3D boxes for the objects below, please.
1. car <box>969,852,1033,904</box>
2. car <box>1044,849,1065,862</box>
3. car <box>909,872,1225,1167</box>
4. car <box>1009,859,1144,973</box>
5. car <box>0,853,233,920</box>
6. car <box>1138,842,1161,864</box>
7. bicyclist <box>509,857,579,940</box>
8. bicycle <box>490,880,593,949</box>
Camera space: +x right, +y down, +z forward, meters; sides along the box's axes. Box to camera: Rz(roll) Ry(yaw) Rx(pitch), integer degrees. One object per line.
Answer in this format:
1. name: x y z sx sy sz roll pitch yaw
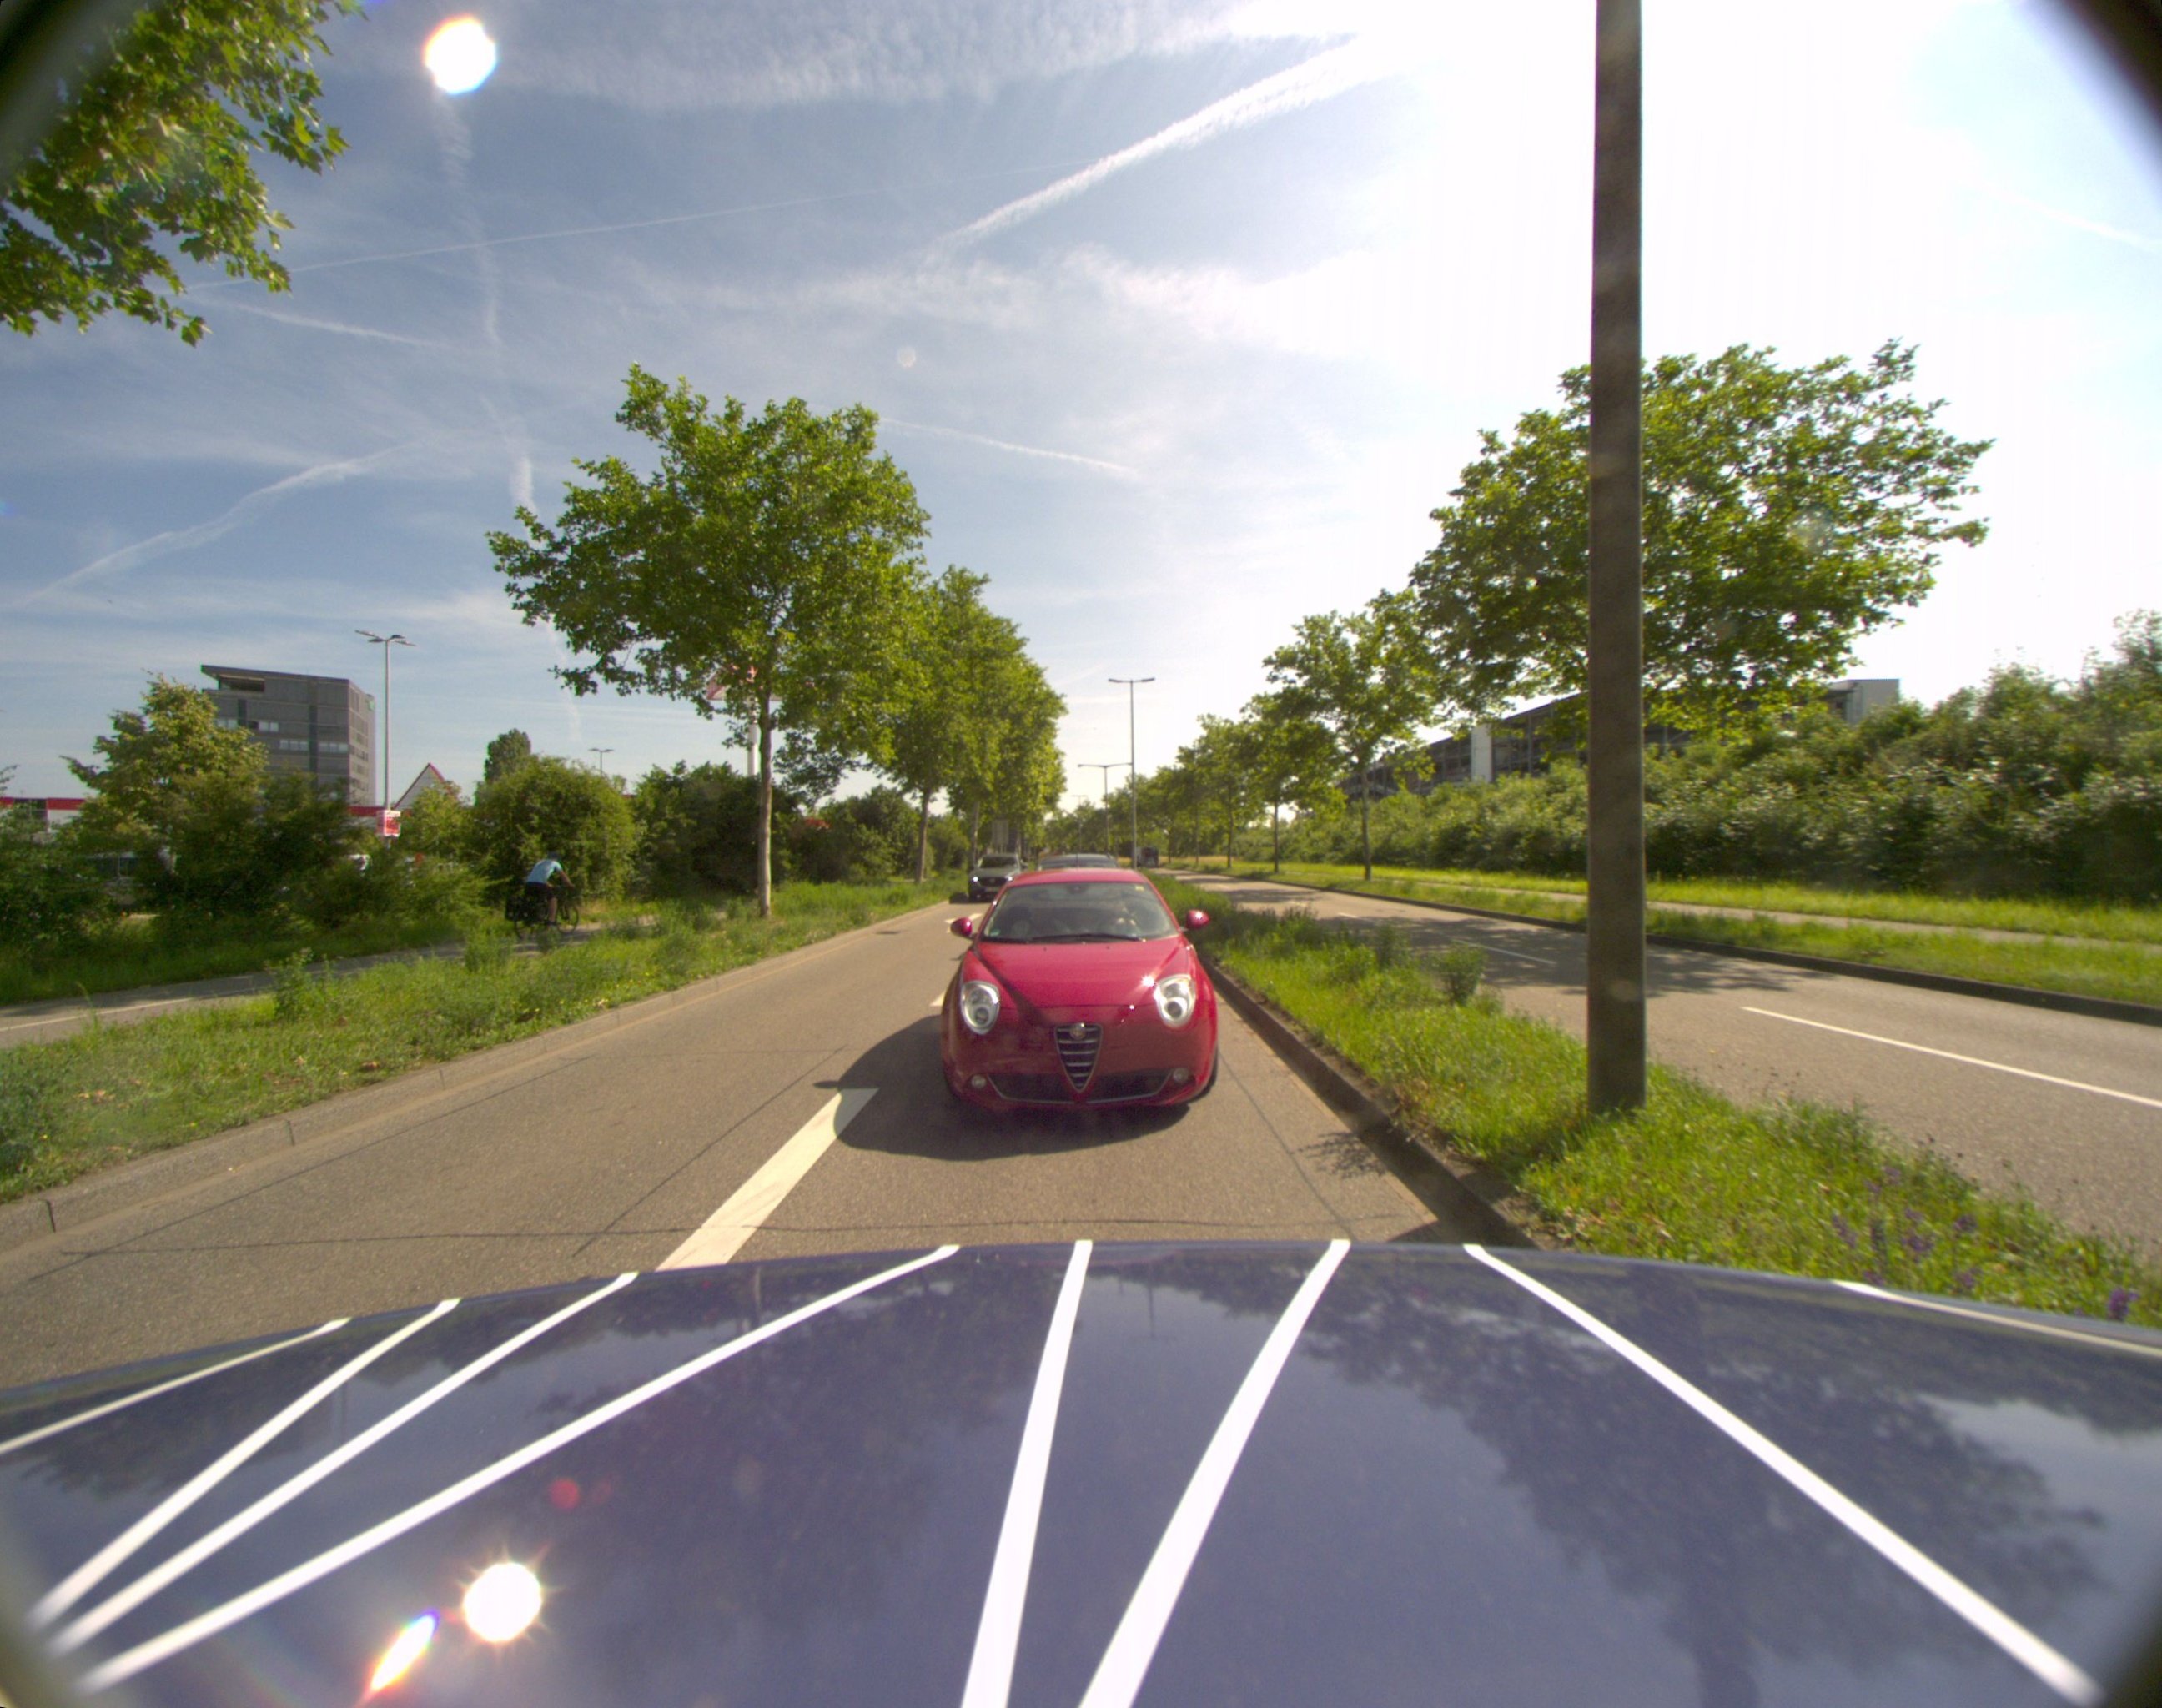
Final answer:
1. car: -2.817 0.809 27.583 1.770 1.649 4.495 -2 0 0
2. car: -4.776 0.216 138.382 2.067 2.396 5.995 0 0 -20
3. car: -0.048 0.946 6.067 1.658 1.430 3.908 -2 0 1
4. car: -0.035 0.890 12.733 1.874 1.536 4.081 -1 0 1
5. car: -25.082 0.772 19.691 3.870 1.576 1.844 -1 1 -38
6. car: 7.656 -0.105 85.200 2.064 2.396 5.538 0 0 0
7. bicyclist: -10.942 0.879 15.521 0.687 1.622 1.002 0 1 1
8. bicycle: -10.944 1.194 15.508 0.687 1.230 1.934 0 1 1
